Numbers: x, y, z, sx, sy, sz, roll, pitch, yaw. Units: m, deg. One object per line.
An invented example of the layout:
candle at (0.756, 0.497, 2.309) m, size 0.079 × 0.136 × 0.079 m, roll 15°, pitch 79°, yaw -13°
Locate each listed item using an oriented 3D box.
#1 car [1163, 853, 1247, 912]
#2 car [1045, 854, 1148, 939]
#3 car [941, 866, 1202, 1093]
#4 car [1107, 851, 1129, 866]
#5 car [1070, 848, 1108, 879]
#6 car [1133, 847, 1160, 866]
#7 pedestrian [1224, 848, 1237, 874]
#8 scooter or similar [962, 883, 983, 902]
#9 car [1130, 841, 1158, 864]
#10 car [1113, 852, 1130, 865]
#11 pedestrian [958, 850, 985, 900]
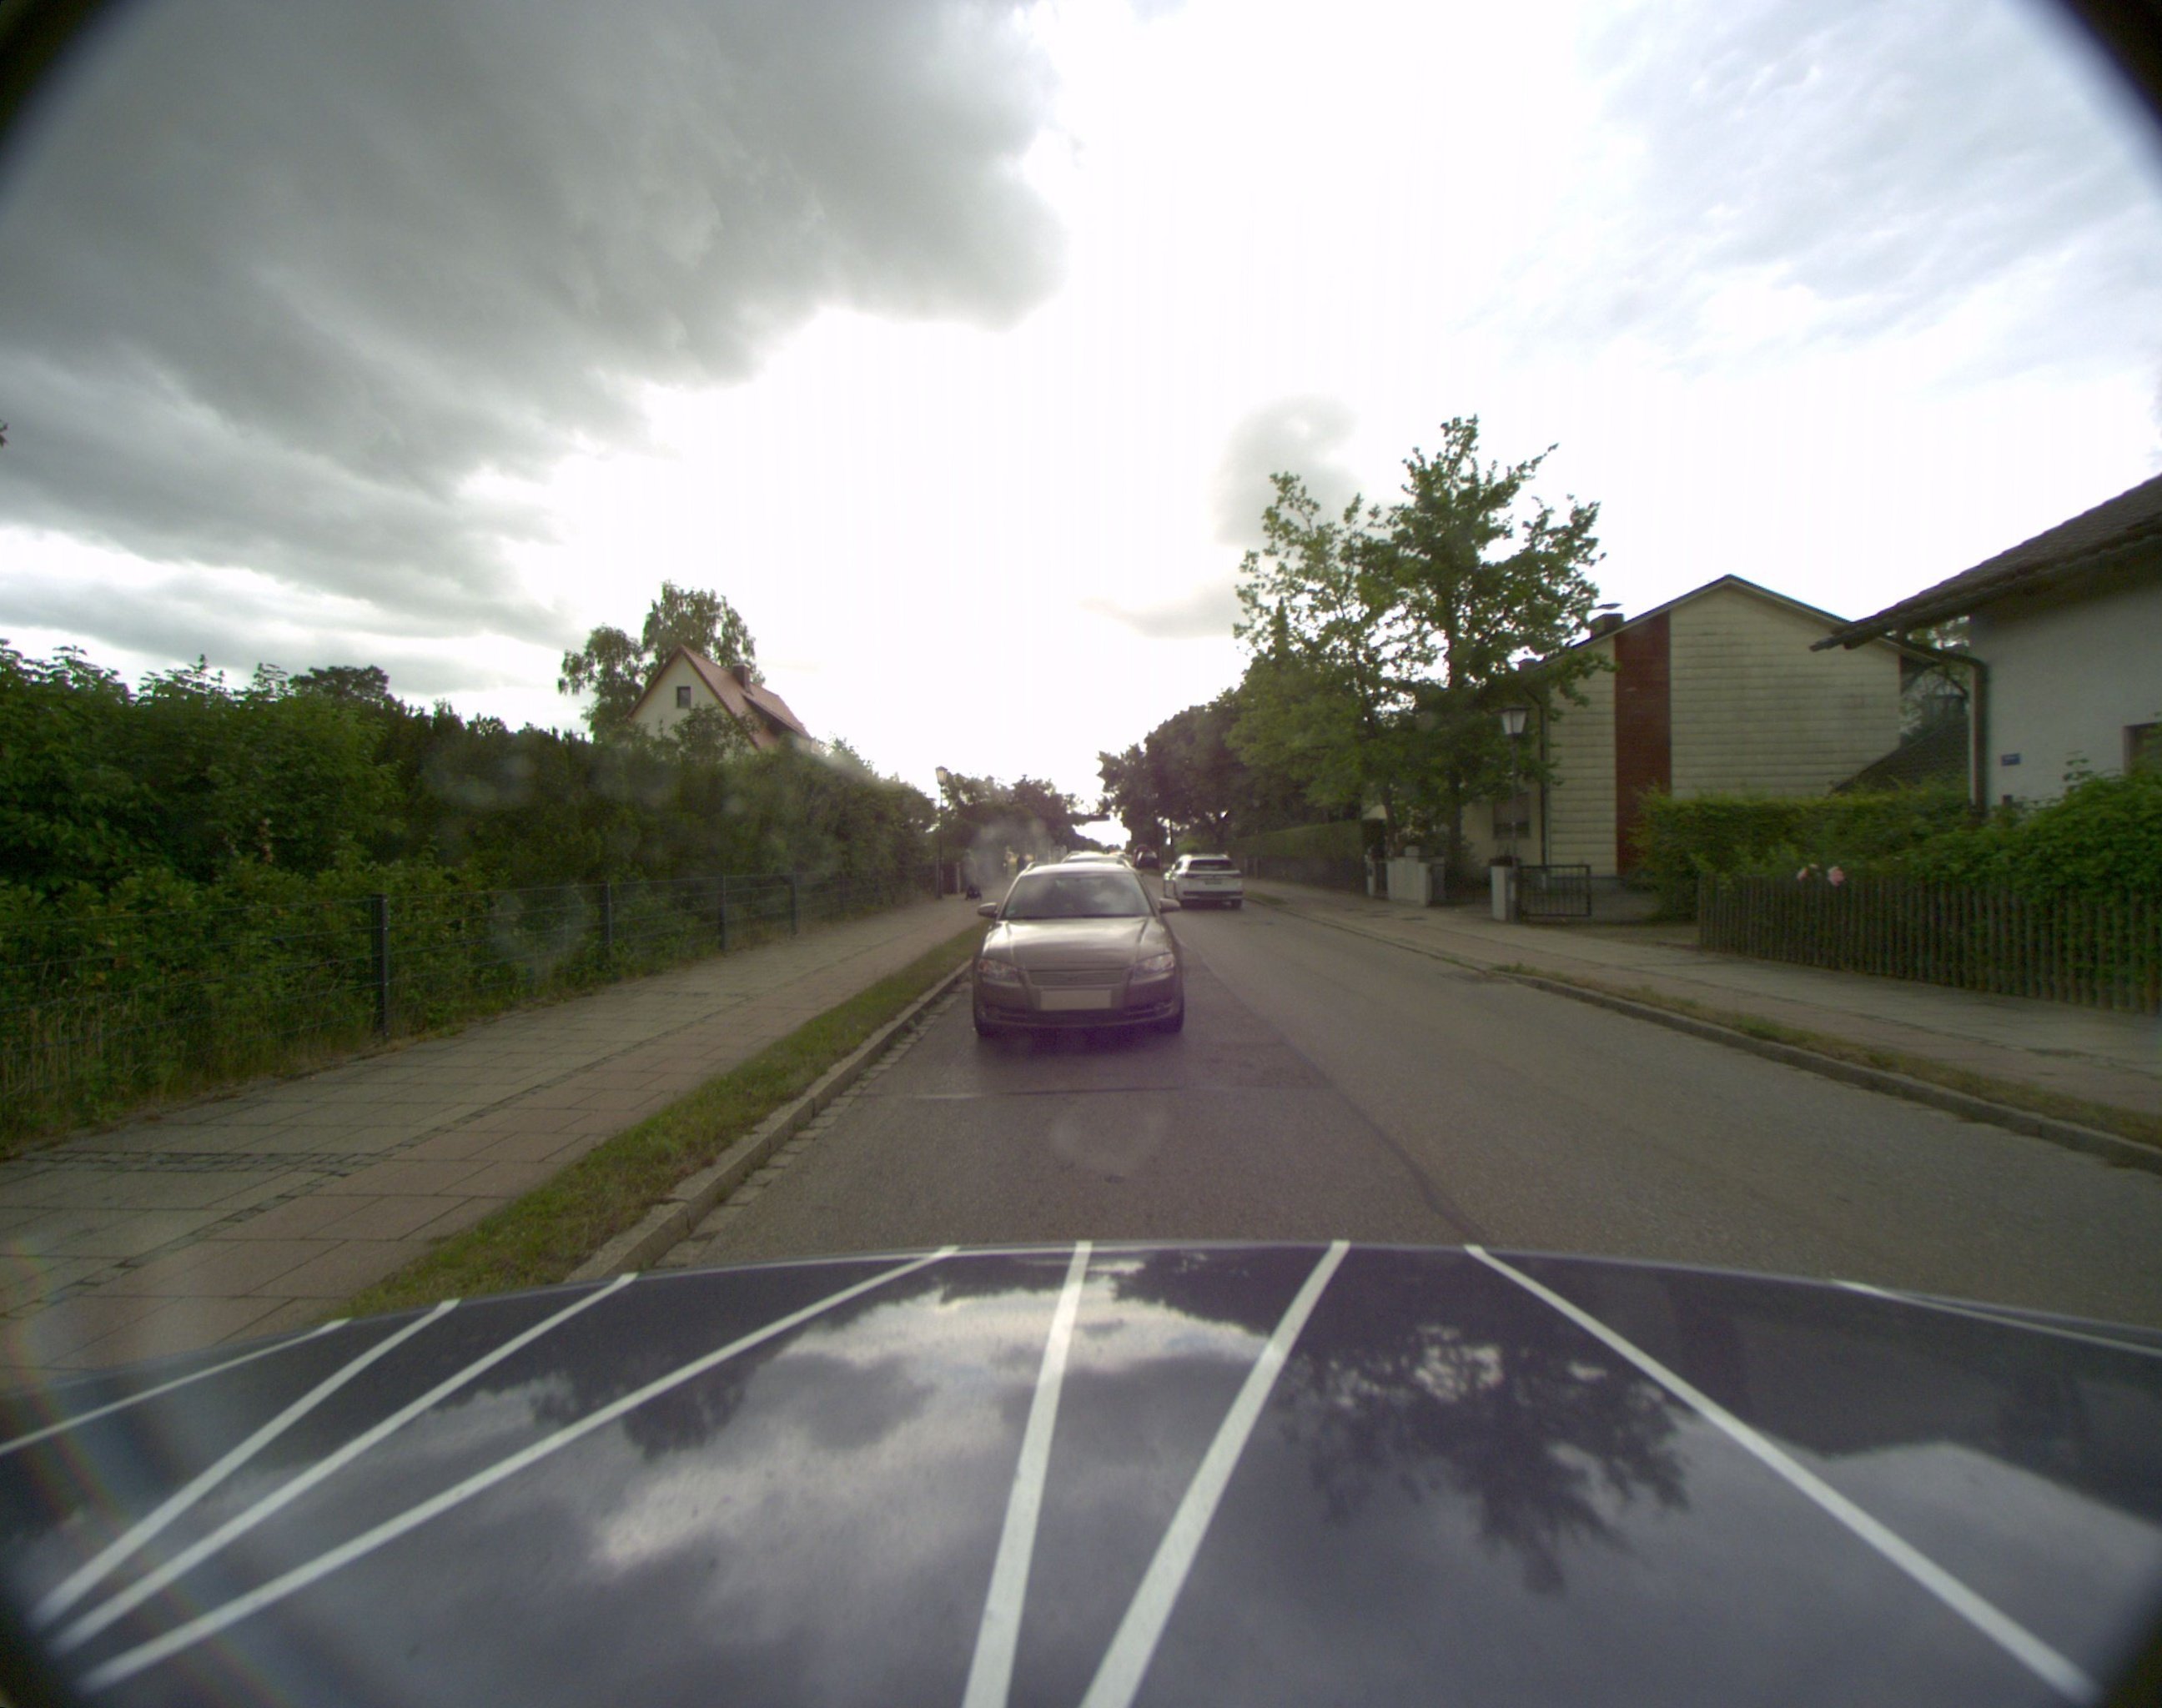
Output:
car at (3.468, 0.745, 21.952) m, size 1.756 × 1.475 × 4.375 m, roll -1°, pitch 0°, yaw 1°
car at (0.311, 0.787, 16.532) m, size 1.866 × 1.518 × 4.943 m, roll -2°, pitch 0°, yaw 0°
car at (-0.049, 0.924, 7.500) m, size 1.809 × 1.476 × 4.270 m, roll -2°, pitch 0°, yaw 0°
car at (3.543, 0.423, 72.690) m, size 2.029 × 1.361 × 4.000 m, roll -1°, pitch 0°, yaw 2°
car at (0.422, 0.476, 40.889) m, size 1.866 × 1.518 × 4.122 m, roll -2°, pitch 0°, yaw 0°
car at (6.120, 0.220, 71.006) m, size 1.999 × 1.739 × 3.999 m, roll -1°, pitch 0°, yaw -2°
pedestrian at (8.539, 0.391, 43.462) m, size 0.631 × 1.429 × 0.563 m, roll -1°, pitch 1°, yaw 1°
scooter or similar at (-3.442, 1.211, 24.154) m, size 0.618 × 0.553 × 0.742 m, roll -1°, pitch 1°, yaw -4°
car at (6.346, -0.140, 76.962) m, size 2.246 × 2.258 × 4.469 m, roll -2°, pitch 0°, yaw -2°
car at (4.852, 0.508, 91.599) m, size 1.854 × 1.576 × 4.000 m, roll -1°, pitch 0°, yaw 1°
pedestrian at (-3.574, 0.678, 24.876) m, size 0.792 × 1.593 × 0.671 m, roll -1°, pitch 1°, yaw -2°
